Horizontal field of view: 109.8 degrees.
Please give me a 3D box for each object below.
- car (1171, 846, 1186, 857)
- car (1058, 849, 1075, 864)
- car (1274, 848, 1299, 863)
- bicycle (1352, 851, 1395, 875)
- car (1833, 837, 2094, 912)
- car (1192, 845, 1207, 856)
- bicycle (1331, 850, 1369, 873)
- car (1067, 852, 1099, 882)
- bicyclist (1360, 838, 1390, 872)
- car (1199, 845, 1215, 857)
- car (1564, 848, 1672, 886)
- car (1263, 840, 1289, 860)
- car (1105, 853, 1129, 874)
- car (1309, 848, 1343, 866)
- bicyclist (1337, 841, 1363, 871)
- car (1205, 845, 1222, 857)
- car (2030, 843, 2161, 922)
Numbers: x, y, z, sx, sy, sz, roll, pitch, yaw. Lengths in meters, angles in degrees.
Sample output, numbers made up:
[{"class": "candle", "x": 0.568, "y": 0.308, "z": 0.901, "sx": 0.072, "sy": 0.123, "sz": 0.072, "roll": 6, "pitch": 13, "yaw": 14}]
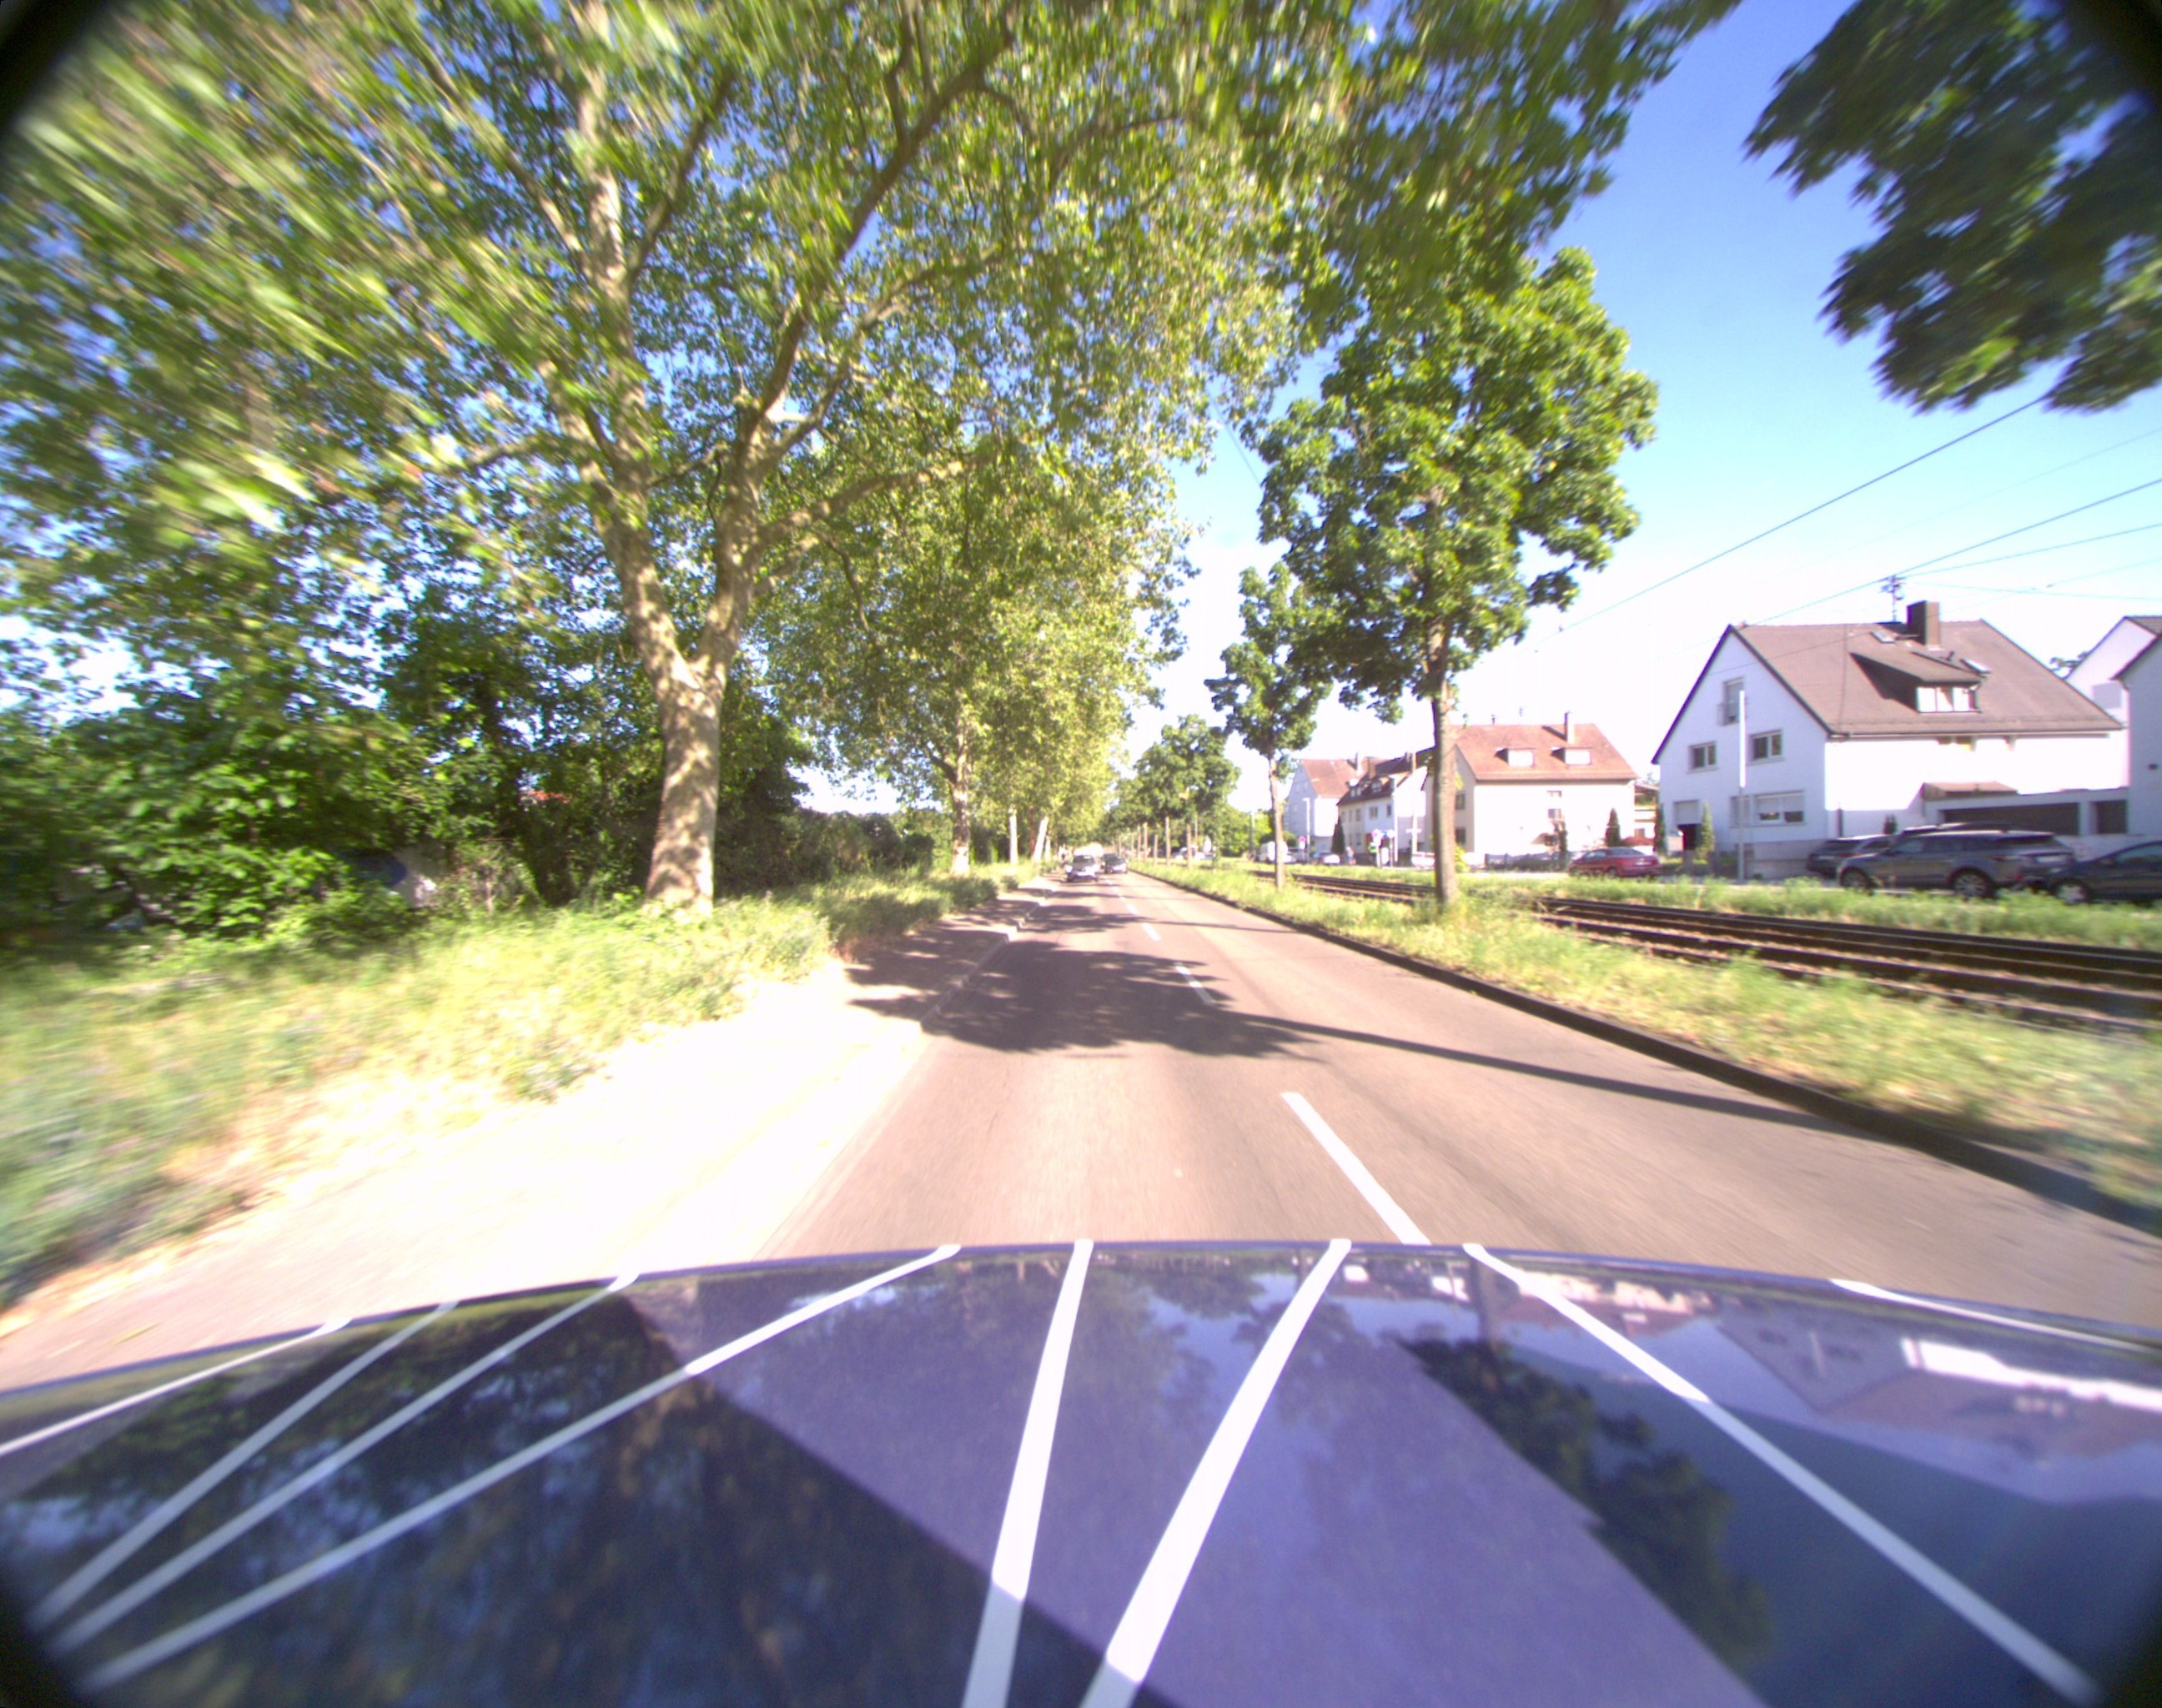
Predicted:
[{"class": "car", "x": 17.959, "y": -0.490, "z": 139.973, "sx": 2.133, "sy": 2.023, "sz": 3.999, "roll": -2, "pitch": 1, "yaw": 0}, {"class": "car", "x": -1.559, "y": 0.240, "z": 81.881, "sx": 1.692, "sy": 1.499, "sz": 3.582, "roll": -2, "pitch": 1, "yaw": 1}, {"class": "car", "x": 22.303, "y": 0.187, "z": 82.683, "sx": 1.791, "sy": 1.497, "sz": 4.000, "roll": -2, "pitch": 1, "yaw": 4}, {"class": "bicycle", "x": 19.625, "y": 0.552, "z": 51.055, "sx": 1.354, "sy": 1.486, "sz": 3.999, "roll": -2, "pitch": 1, "yaw": 1}, {"class": "car", "x": 21.423, "y": 0.438, "z": 18.744, "sx": 1.802, "sy": 1.588, "sz": 4.011, "roll": -2, "pitch": 1, "yaw": 1}, {"class": "car", "x": 22.879, "y": -0.757, "z": 146.904, "sx": 2.133, "sy": 2.023, "sz": 3.999, "roll": -2, "pitch": 1, "yaw": 0}, {"class": "bicycle", "x": 19.655, "y": 0.493, "z": 55.622, "sx": 1.354, "sy": 1.568, "sz": 3.999, "roll": -2, "pitch": 1, "yaw": 1}, {"class": "car", "x": 0.132, "y": 0.710, "z": 43.413, "sx": 1.692, "sy": 1.499, "sz": 3.582, "roll": -2, "pitch": 1, "yaw": 1}, {"class": "bicyclist", "x": 19.616, "y": 0.056, "z": 50.793, "sx": 1.310, "sy": 2.220, "sz": 1.623, "roll": -2, "pitch": 1, "yaw": 1}, {"class": "car", "x": 22.524, "y": -0.619, "z": 135.725, "sx": 2.133, "sy": 2.023, "sz": 3.999, "roll": -2, "pitch": 1, "yaw": 0}, {"class": "car", "x": 21.891, "y": 0.499, "z": 31.168, "sx": 1.756, "sy": 1.373, "sz": 3.823, "roll": -2, "pitch": 1, "yaw": 1}, {"class": "car", "x": 22.463, "y": -0.479, "z": 87.760, "sx": 2.132, "sy": 2.210, "sz": 4.000, "roll": -2, "pitch": 1, "yaw": 4}, {"class": "car", "x": 2.826, "y": 0.708, "z": 60.487, "sx": 1.692, "sy": 1.499, "sz": 3.582, "roll": -2, "pitch": 1, "yaw": 1}, {"class": "car", "x": 22.151, "y": 0.267, "z": 68.750, "sx": 1.791, "sy": 1.497, "sz": 4.000, "roll": -2, "pitch": 1, "yaw": 1}, {"class": "bicyclist", "x": 19.616, "y": 0.156, "z": 55.483, "sx": 1.354, "sy": 2.147, "sz": 1.308, "roll": -2, "pitch": 1, "yaw": 1}, {"class": "car", "x": 22.529, "y": -0.549, "z": 129.475, "sx": 2.133, "sy": 2.023, "sz": 3.999, "roll": -2, "pitch": 1, "yaw": 0}, {"class": "car", "x": 21.476, "y": 0.530, "z": 14.614, "sx": 1.738, "sy": 1.481, "sz": 3.756, "roll": -2, "pitch": -1, "yaw": 1}]
